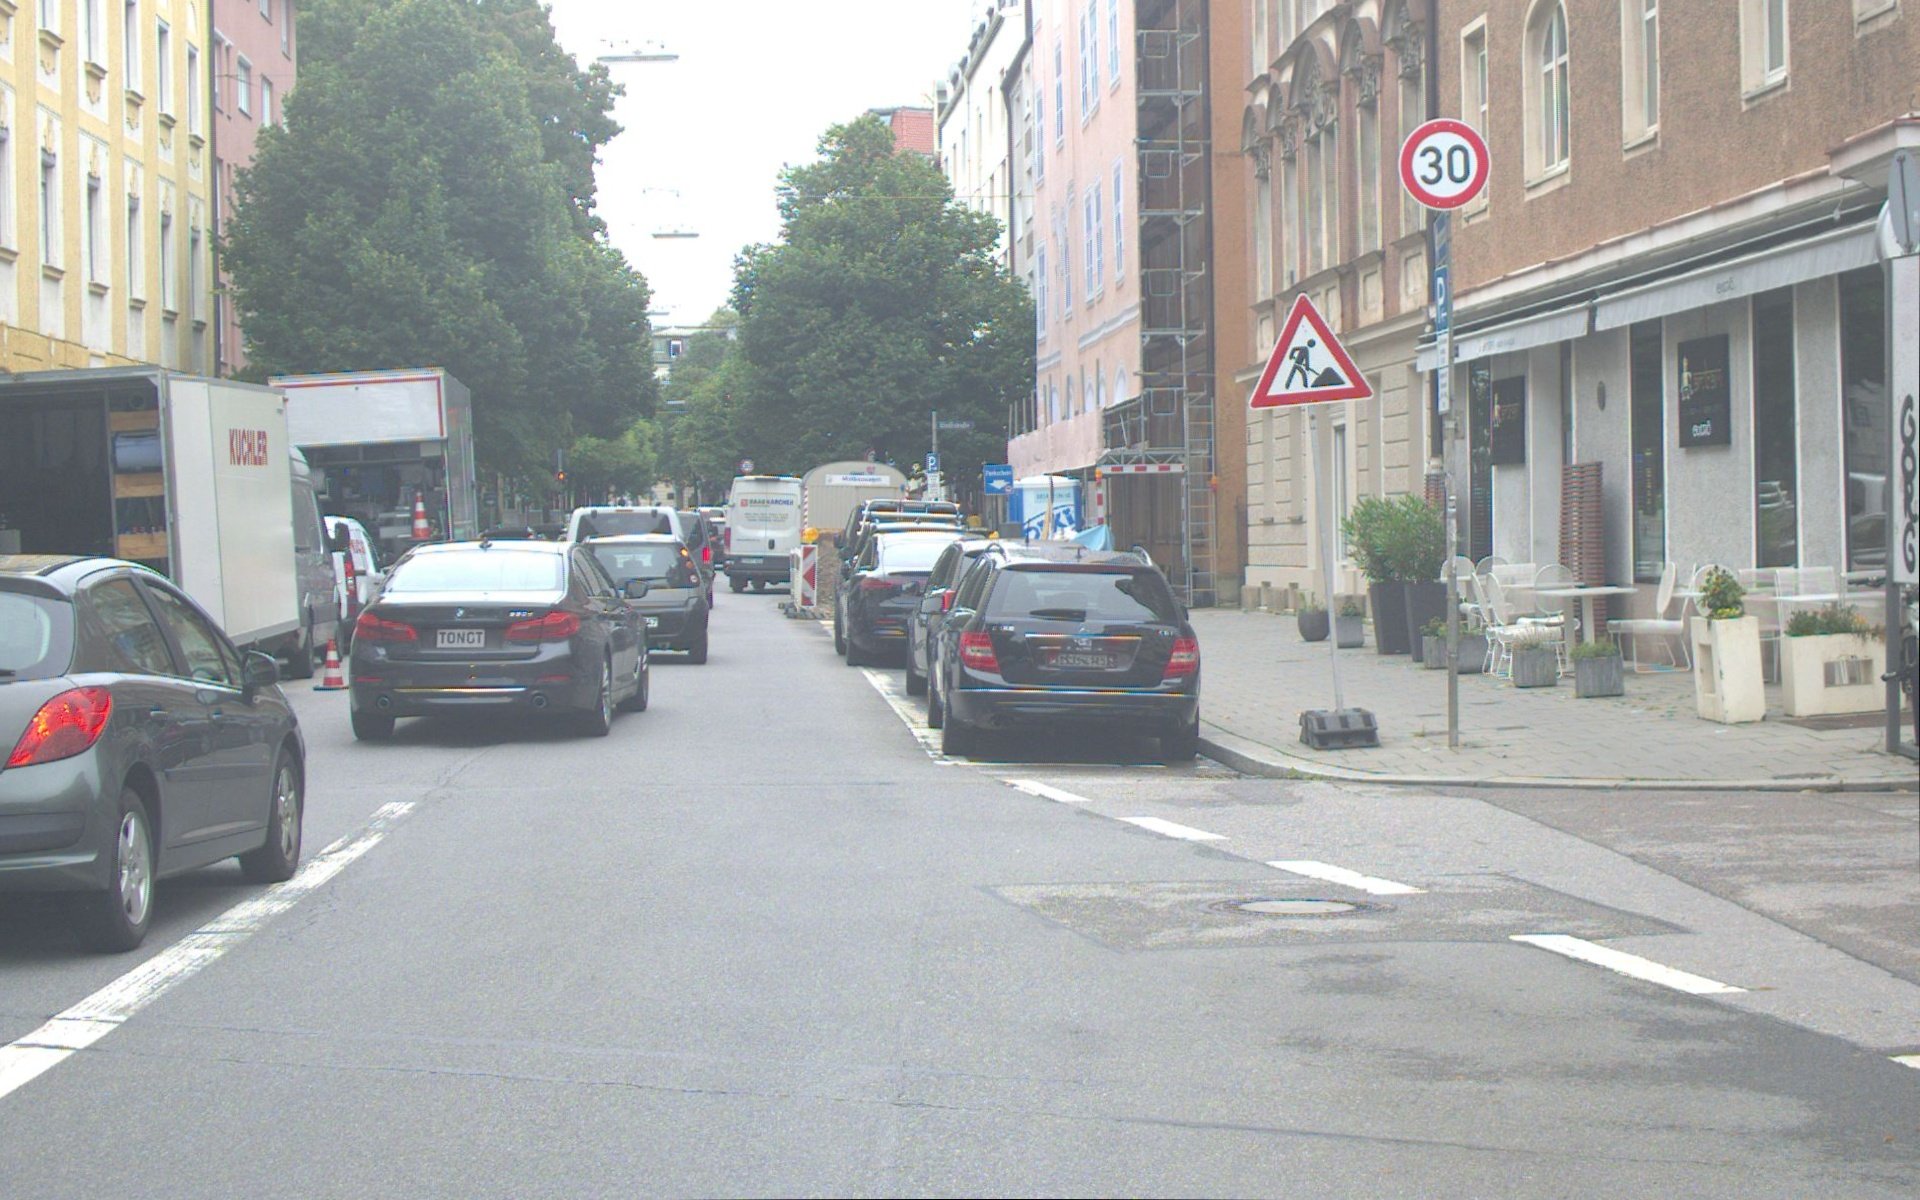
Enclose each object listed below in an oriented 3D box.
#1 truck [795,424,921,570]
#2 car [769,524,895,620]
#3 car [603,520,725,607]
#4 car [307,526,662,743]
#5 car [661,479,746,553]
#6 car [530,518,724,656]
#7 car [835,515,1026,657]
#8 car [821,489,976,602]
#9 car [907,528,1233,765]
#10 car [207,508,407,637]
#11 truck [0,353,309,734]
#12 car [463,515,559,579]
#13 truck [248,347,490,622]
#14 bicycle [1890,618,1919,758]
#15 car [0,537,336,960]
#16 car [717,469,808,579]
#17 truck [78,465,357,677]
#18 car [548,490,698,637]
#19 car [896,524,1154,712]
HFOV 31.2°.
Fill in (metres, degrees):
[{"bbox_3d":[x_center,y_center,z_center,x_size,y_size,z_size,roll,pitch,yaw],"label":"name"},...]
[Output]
[{"bbox_3d":[-2.213,-2.162,72.904,2.491,2.963,5.328,0,1,-4],"label":"truck"},{"bbox_3d":[-2.117,-0.488,56.557,1.990,1.424,4.141,-1,2,-2],"label":"car"},{"bbox_3d":[-5.254,-0.679,61.463,1.990,1.424,4.141,-1,2,-2],"label":"car"},{"bbox_3d":[-3.513,0.189,26.333,1.990,1.424,4.906,0,2,1],"label":"car"},{"bbox_3d":[-6.669,-2.182,89.730,1.993,1.897,4.000,0,1,-1],"label":"car"},{"bbox_3d":[-3.772,-0.196,39.565,1.990,1.424,4.141,-1,2,-2],"label":"car"},{"bbox_3d":[-0.393,-0.202,39.204,1.844,1.424,4.307,2,2,-4],"label":"car"},{"bbox_3d":[-0.887,-0.777,47.056,1.990,1.424,4.141,-1,2,-2],"label":"car"},{"bbox_3d":[0.691,0.264,24.589,1.844,1.424,4.184,2,2,-4],"label":"car"},{"bbox_3d":[-8.507,-0.387,45.124,1.990,1.605,4.141,0,1,-2],"label":"car"},{"bbox_3d":[-7.472,-0.550,29.621,2.773,2.863,7.203,-1,2,-4],"label":"truck"},{"bbox_3d":[-10.361,-1.235,79.577,1.939,1.443,3.867,0,1,-4],"label":"car"},{"bbox_3d":[-8.950,-1.733,52.827,3.012,3.938,6.997,0,1,-4],"label":"truck"},{"bbox_3d":[5.829,0.522,20.009,0.456,0.802,1.326,0,1,-1],"label":"bicycle"},{"bbox_3d":[-3.797,0.489,13.971,1.759,1.456,4.074,-1,1,0],"label":"car"},{"bbox_3d":[-4.546,-1.772,79.851,1.939,2.472,4.783,0,1,-1],"label":"car"},{"bbox_3d":[-8.036,-0.351,37.653,2.286,2.164,4.807,0,1,-4],"label":"truck"},{"bbox_3d":[-5.026,-0.597,51.742,1.990,2.068,4.141,-1,2,-2],"label":"car"},{"bbox_3d":[0.497,0.102,30.323,1.844,1.424,4.141,2,2,-4],"label":"car"}]
